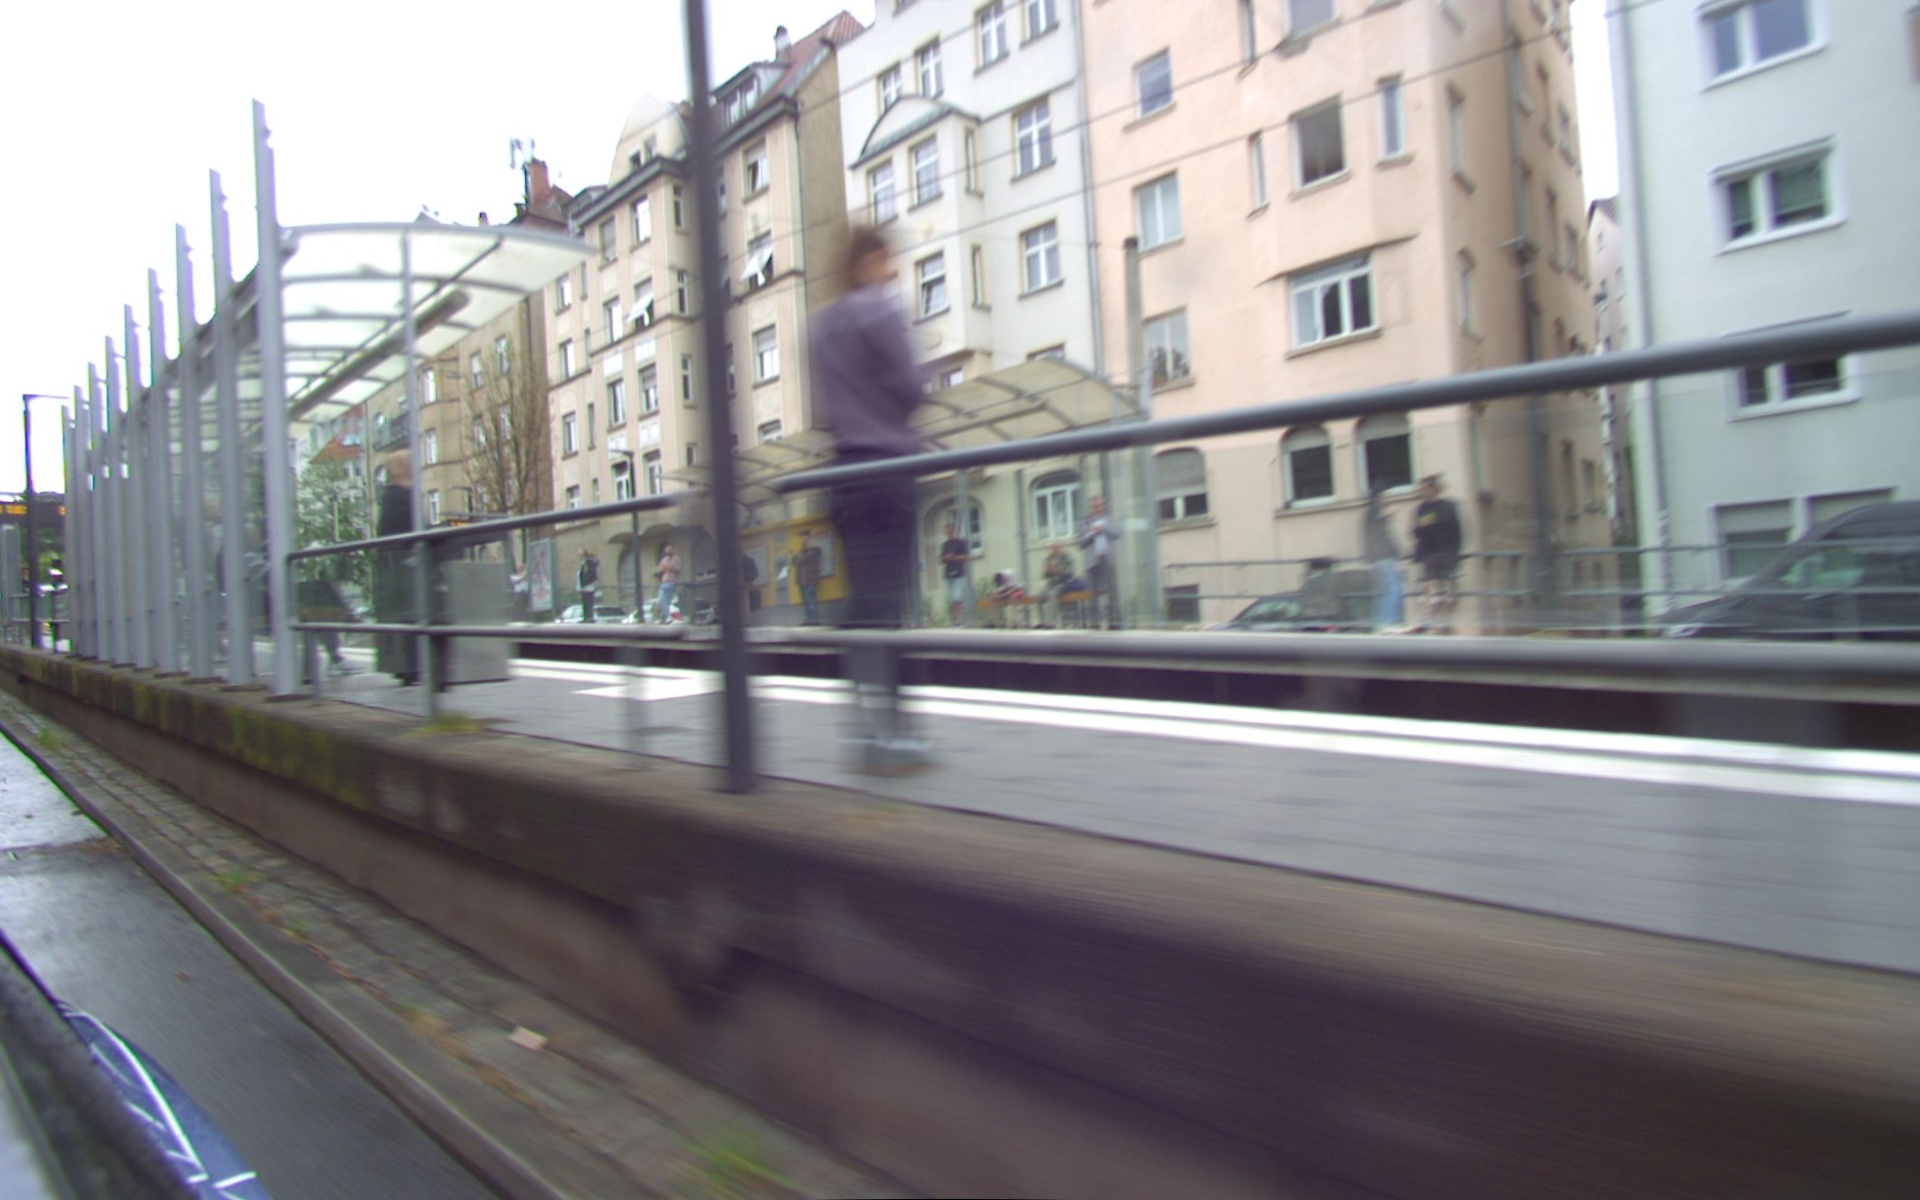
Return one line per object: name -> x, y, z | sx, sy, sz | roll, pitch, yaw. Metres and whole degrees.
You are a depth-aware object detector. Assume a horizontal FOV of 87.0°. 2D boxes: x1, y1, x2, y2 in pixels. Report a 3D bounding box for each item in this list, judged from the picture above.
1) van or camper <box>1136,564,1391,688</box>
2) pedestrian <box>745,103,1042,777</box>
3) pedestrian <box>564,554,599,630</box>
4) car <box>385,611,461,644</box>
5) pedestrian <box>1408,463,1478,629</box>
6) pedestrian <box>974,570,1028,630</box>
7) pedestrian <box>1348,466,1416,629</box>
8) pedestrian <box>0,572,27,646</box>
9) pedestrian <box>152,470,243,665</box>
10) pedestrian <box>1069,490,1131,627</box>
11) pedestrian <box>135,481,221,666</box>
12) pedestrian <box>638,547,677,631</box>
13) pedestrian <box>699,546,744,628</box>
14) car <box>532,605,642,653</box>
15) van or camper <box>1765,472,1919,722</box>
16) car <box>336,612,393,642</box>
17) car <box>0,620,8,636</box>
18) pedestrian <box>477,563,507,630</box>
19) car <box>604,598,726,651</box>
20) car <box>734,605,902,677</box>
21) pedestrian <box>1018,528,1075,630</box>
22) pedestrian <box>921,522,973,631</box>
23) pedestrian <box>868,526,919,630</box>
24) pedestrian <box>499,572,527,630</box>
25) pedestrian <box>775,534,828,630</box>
van or camper -> 5.475, 0.487, 18.524 | 3.999, 2.029, 1.972 | -2, -2, 42
pedestrian -> -0.208, -0.434, 3.178 | 0.660, 1.821, 0.583 | -1, 0, 42
pedestrian -> -9.400, -0.184, 25.146 | 0.762, 1.852, 0.510 | -1, -2, 43
car -> -25.690, 1.319, 48.335 | 4.867, 1.453, 1.699 | -2, -1, 42
pedestrian -> 5.257, -0.564, 11.022 | 0.563, 1.754, 0.477 | -1, -2, 43
pedestrian -> 0.613, 0.007, 15.142 | 0.614, 0.878, 0.544 | -1, -2, 43
pedestrian -> 4.705, -0.559, 11.292 | 0.563, 1.754, 0.477 | -1, -2, 43
pedestrian -> -20.686, 0.203, 21.930 | 0.684, 1.574, 0.643 | -2, -1, 43
pedestrian -> -7.734, -0.312, 10.260 | 0.711, 1.895, 0.583 | -2, -1, 42
pedestrian -> 1.837, -0.521, 13.309 | 0.614, 1.754, 0.544 | -1, -2, 43
pedestrian -> -8.300, -0.269, 10.739 | 0.711, 1.879, 0.583 | -2, -1, 42
pedestrian -> -6.793, -0.233, 22.752 | 0.762, 1.852, 0.510 | -1, -2, 43
pedestrian -> -4.949, -0.254, 21.009 | 0.762, 1.678, 0.587 | -1, -2, 43
car -> -13.788, 1.017, 37.300 | 4.534, 1.544, 1.972 | 0, 3, 44
van or camper -> 12.356, -0.064, 11.530 | 4.857, 2.826, 1.974 | -2, -2, 38
car -> -32.428, 1.458, 55.069 | 4.175, 1.559, 1.612 | -2, -1, 44
car -> -118.210, 3.434, 123.982 | 4.281, 1.849, 1.781 | -1, -1, 41
pedestrian -> -13.105, -0.086, 28.319 | 0.599, 1.864, 0.555 | -1, -2, 43
car -> -9.780, 0.824, 33.344 | 4.537, 1.635, 1.901 | -2, -2, 45
car -> -3.869, 1.018, 27.014 | 1.970, 1.745, 4.817 | 1, -1, -44
pedestrian -> 1.247, -0.279, 14.510 | 0.614, 1.424, 0.544 | -1, -2, 43
pedestrian -> -0.203, -0.354, 15.974 | 0.614, 1.678, 0.544 | -1, -2, 43
pedestrian -> -1.096, -0.340, 16.668 | 0.591, 1.678, 0.587 | -1, -2, 43
pedestrian -> -12.444, 0.035, 28.184 | 0.563, 1.617, 0.510 | -1, -2, 43
pedestrian -> -2.852, -0.309, 18.229 | 0.762, 1.678, 0.587 | -1, -2, 43
